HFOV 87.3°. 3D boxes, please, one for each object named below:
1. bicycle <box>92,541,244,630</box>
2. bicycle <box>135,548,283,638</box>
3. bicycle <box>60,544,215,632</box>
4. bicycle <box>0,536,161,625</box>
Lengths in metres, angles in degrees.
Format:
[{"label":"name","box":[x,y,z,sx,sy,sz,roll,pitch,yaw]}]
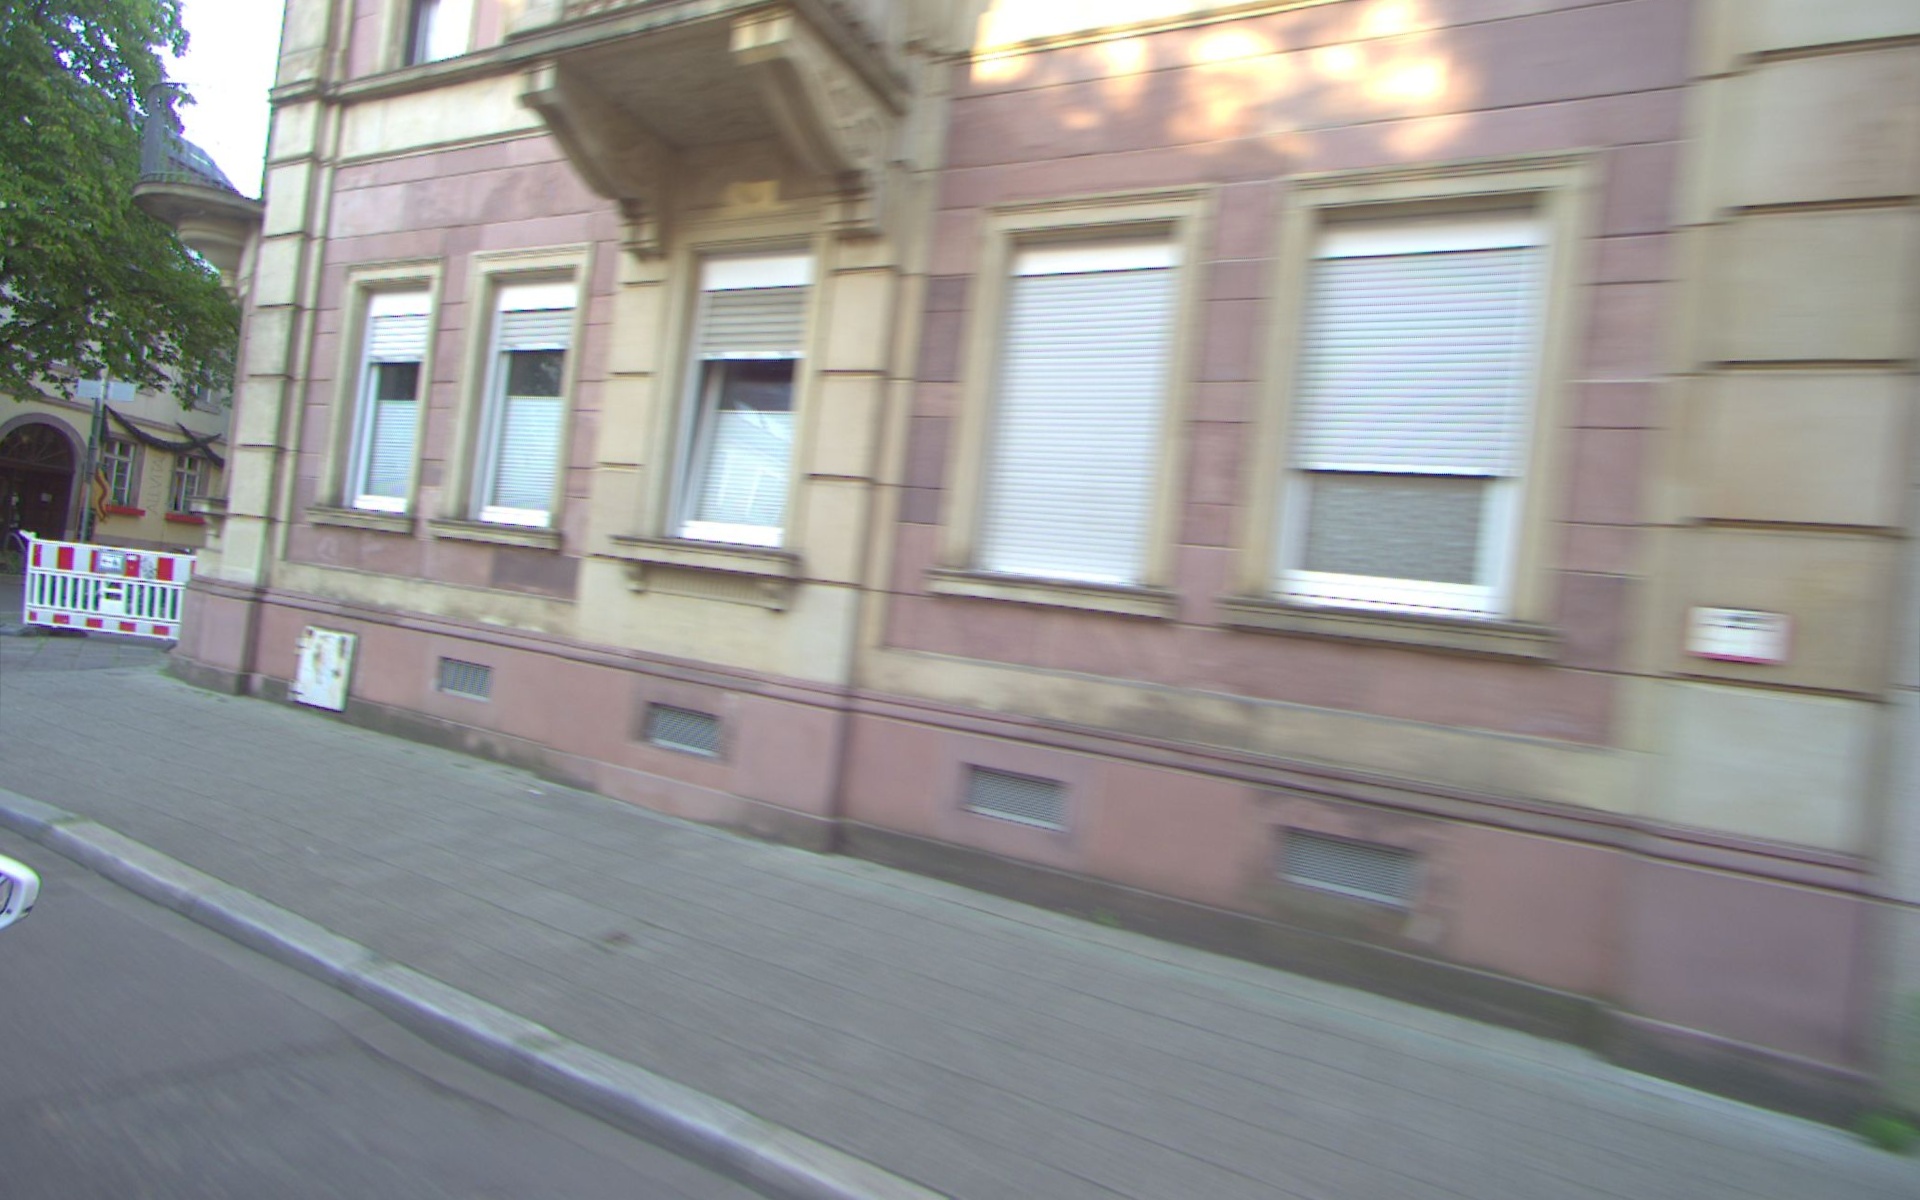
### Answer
[{"label":"bicycle","box":[-10.673,-0.161,13.642,0.357,1.103,1.871,5,-1,6]},{"label":"bicycle","box":[-10.077,-0.060,13.589,0.357,1.103,1.871,5,-1,6]},{"label":"bicycle","box":[-11.245,-0.134,13.838,0.357,1.103,1.871,5,-1,6]},{"label":"bicycle","box":[-11.923,-0.227,13.697,0.357,1.103,1.871,5,-1,6]}]
